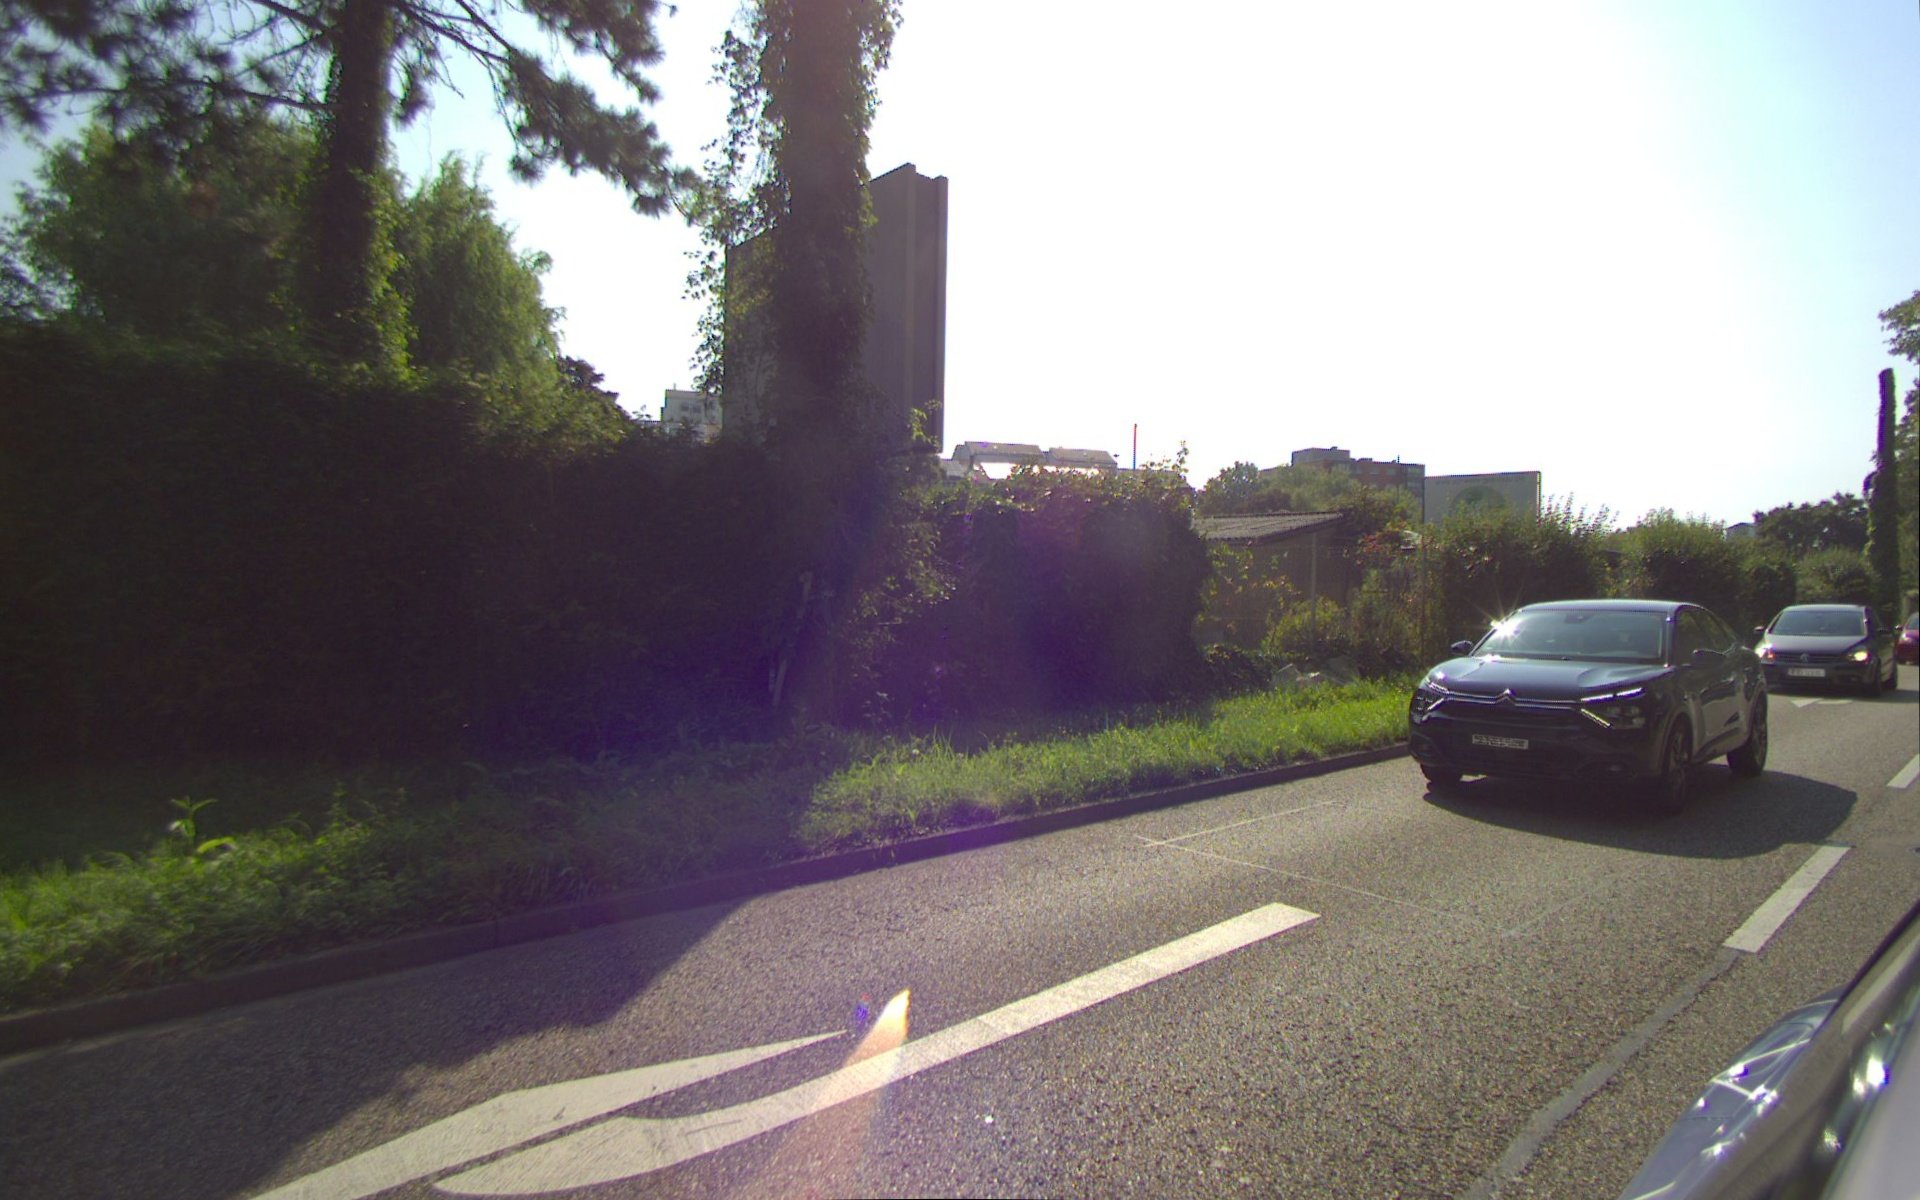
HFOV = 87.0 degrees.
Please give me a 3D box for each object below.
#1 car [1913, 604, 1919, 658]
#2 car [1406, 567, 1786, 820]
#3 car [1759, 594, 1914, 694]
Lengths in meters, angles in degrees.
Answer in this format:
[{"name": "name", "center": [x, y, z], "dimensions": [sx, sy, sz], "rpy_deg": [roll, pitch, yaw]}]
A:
[{"name": "car", "center": [27.547, 0.871, 28.036], "dimensions": [1.575, 1.416, 3.418], "rpy_deg": [3, 2, 42]}, {"name": "car", "center": [5.508, 0.580, 8.529], "dimensions": [4.182, 1.608, 1.647], "rpy_deg": [0, 2, -43]}, {"name": "car", "center": [15.924, 0.717, 18.322], "dimensions": [3.832, 1.576, 1.648], "rpy_deg": [0, 1, -42]}]
